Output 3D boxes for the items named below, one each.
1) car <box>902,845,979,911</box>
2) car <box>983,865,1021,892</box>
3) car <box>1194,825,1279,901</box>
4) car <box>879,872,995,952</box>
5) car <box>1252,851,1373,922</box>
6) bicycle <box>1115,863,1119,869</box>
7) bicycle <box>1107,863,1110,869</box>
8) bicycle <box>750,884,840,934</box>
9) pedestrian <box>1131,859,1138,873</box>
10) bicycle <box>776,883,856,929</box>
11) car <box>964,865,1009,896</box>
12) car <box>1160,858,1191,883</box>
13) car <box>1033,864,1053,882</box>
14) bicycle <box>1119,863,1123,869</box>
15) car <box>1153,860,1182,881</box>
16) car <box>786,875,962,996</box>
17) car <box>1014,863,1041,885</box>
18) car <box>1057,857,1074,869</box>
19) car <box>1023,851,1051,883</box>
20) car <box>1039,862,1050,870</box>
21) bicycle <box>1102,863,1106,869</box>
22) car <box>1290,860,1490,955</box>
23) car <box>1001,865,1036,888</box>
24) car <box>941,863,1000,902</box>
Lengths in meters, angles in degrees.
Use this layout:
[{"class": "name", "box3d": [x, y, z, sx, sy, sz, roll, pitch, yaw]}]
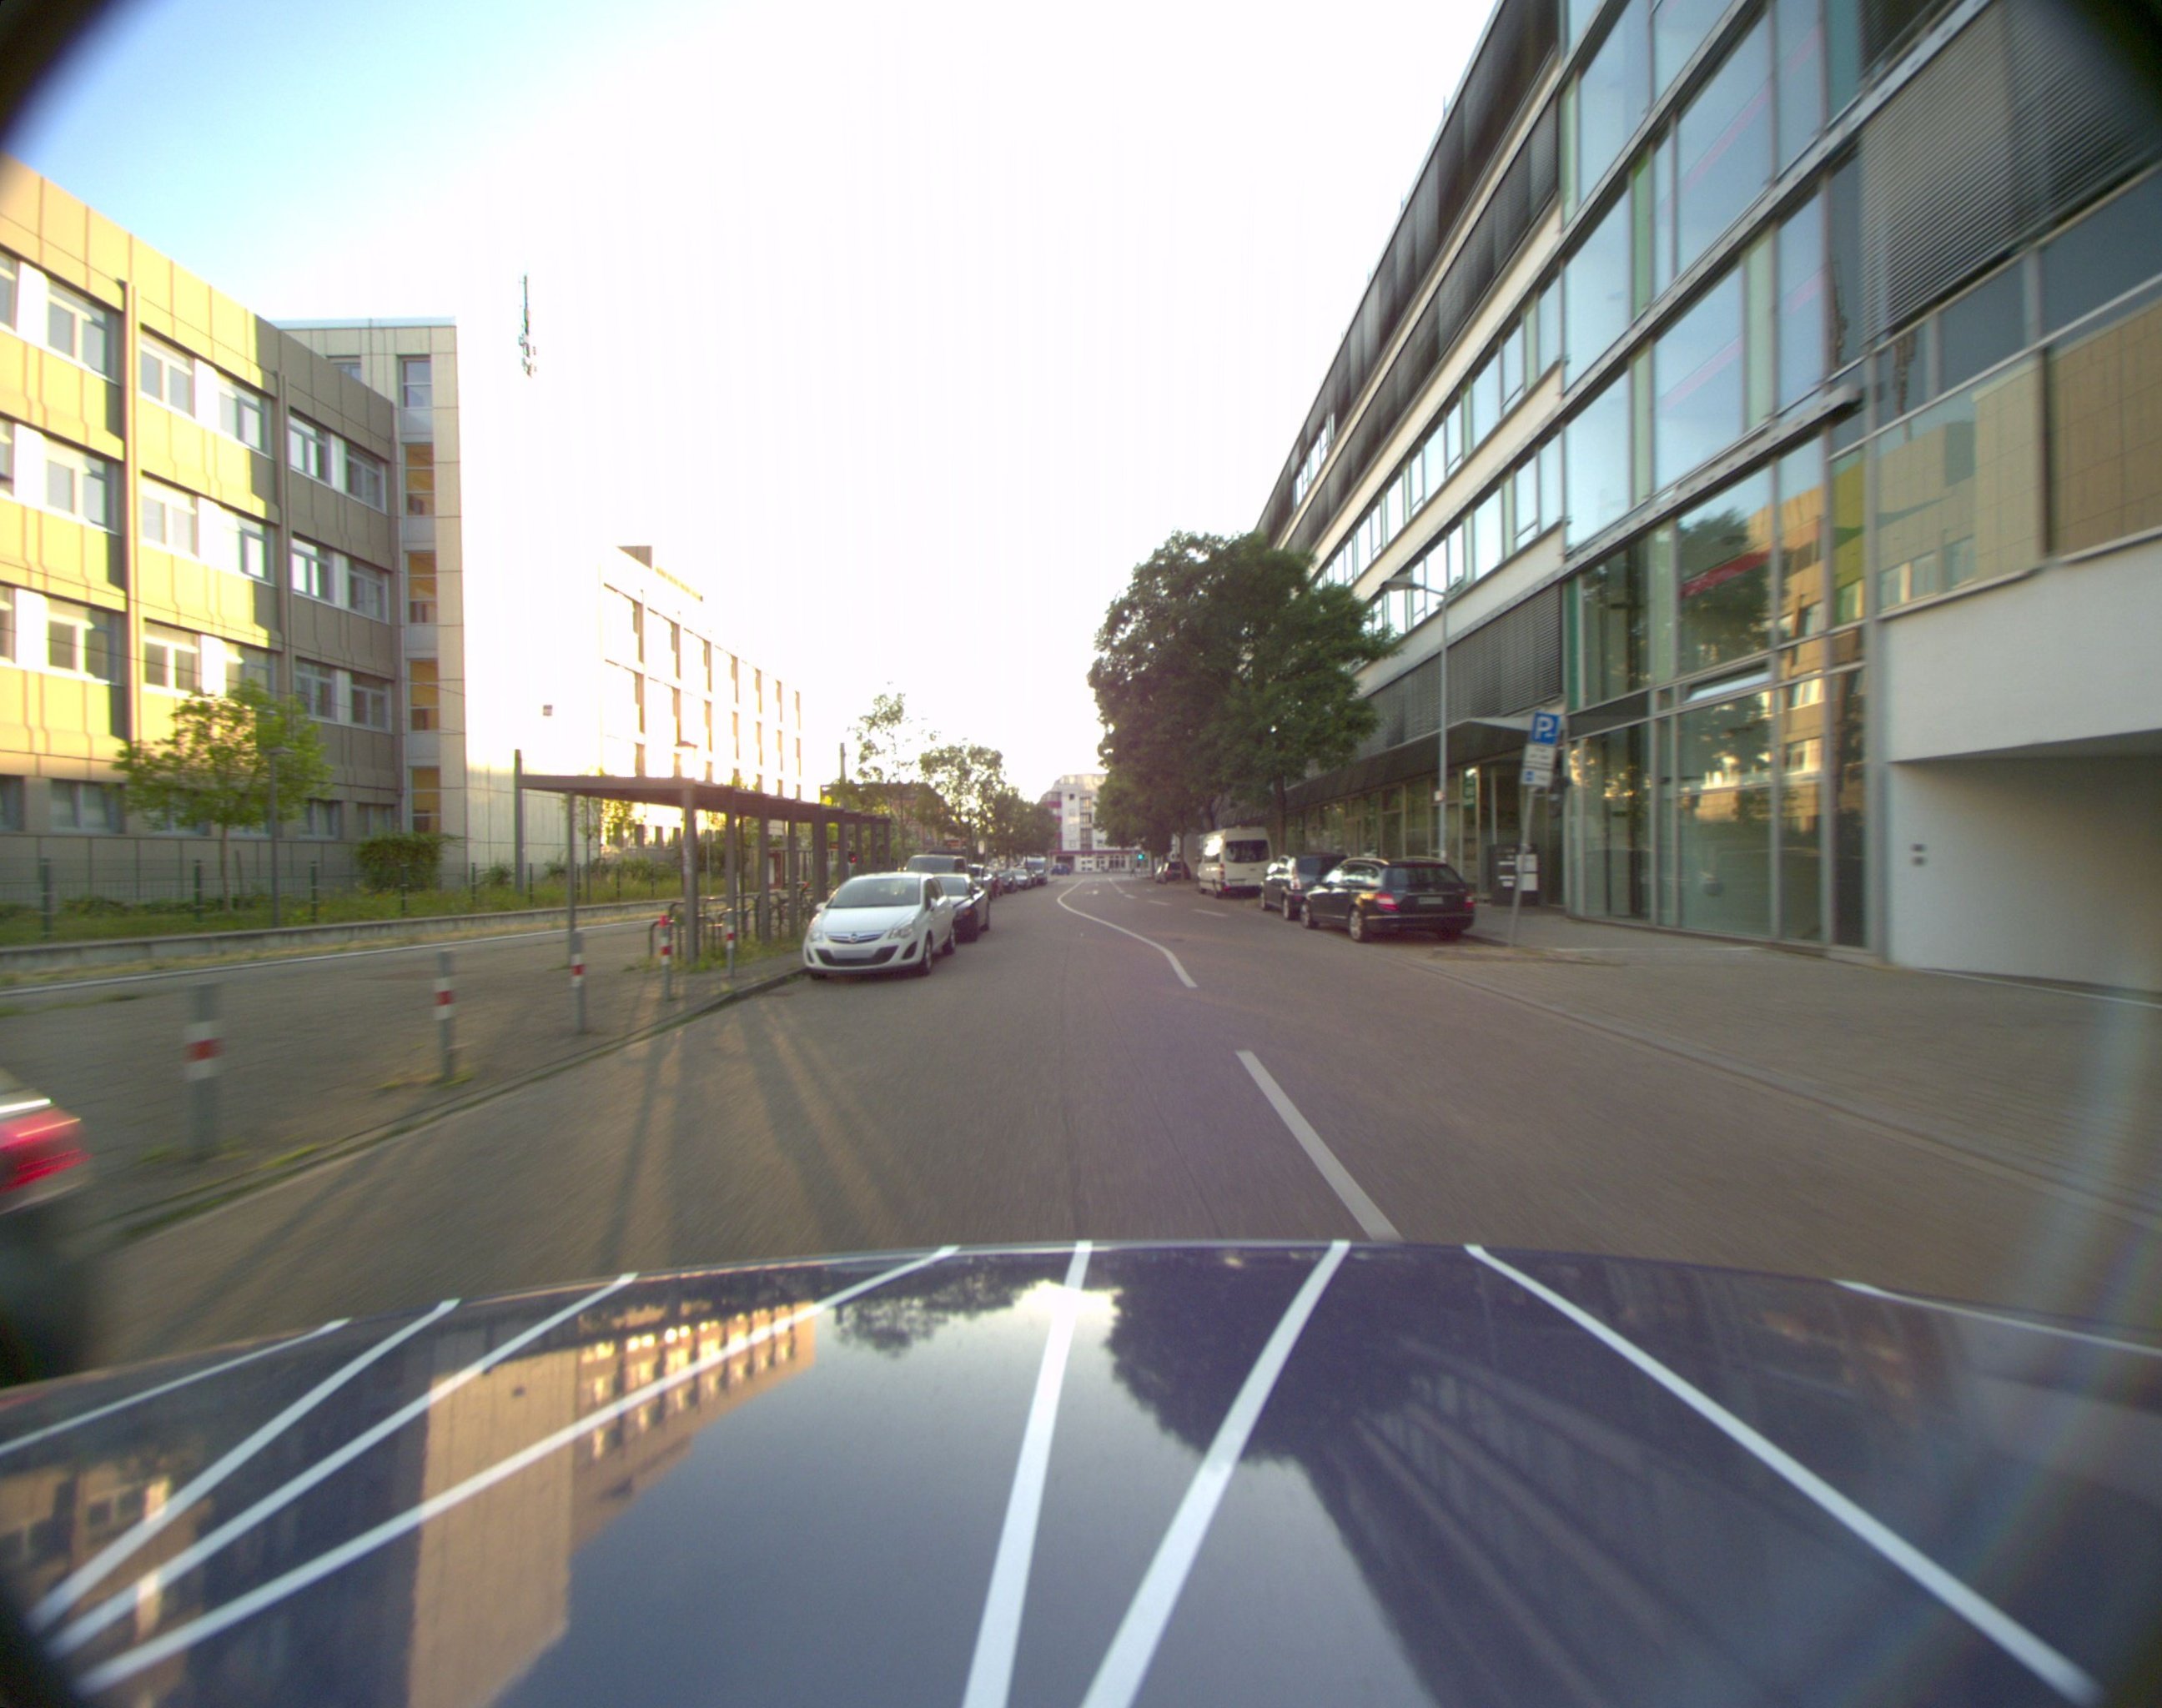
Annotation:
[{"class": "car", "box3d": [-4.973, 0.822, 27.521, 1.809, 2.163, 4.736, 1, 0, 1]}, {"class": "car", "box3d": [-4.603, 1.401, 44.699, 1.712, 1.443, 4.000, 1, 0, 1]}, {"class": "car", "box3d": [6.001, 0.353, 30.304, 2.105, 2.648, 6.952, -1, -1, 2]}, {"class": "car", "box3d": [-3.019, 1.168, 16.845, 1.792, 1.443, 4.515, -1, -1, -2]}, {"class": "car", "box3d": [5.697, 0.770, 19.280, 1.848, 1.562, 4.268, -1, -1, 2]}, {"class": "bicycle", "box3d": [6.259, 2.139, 132.469, 0.515, 1.040, 1.903, -1, 0, -1]}, {"class": "bicycle", "box3d": [4.809, 2.139, 132.438, 0.515, 1.040, 1.903, -1, 0, -1]}, {"class": "bicycle", "box3d": [-6.360, 1.216, 16.951, 1.810, 1.060, 0.487, -1, 1, 1]}, {"class": "pedestrian", "box3d": [6.527, 1.418, 92.447, 0.545, 1.691, 0.709, -1, 0, 29]}, {"class": "bicycle", "box3d": [-6.287, 1.236, 18.054, 1.724, 1.060, 0.421, 0, 1, 1]}, {"class": "car", "box3d": [-4.853, 1.352, 39.480, 1.712, 1.484, 4.131, 1, 0, 1]}, {"class": "car", "box3d": [6.478, 1.121, 52.661, 1.593, 1.559, 4.472, -4, -1, 1]}, {"class": "car", "box3d": [-3.682, 1.840, 73.576, 1.752, 1.574, 4.013, 2, -1, -1]}, {"class": "bicycle", "box3d": [7.008, 2.136, 132.371, 0.515, 1.040, 1.903, -1, 0, -1]}, {"class": "car", "box3d": [6.543, 1.250, 57.851, 1.707, 1.453, 4.627, -4, -1, 1]}, {"class": "car", "box3d": [-3.006, 1.110, 11.944, 1.680, 1.443, 4.187, -1, 0, -1]}, {"class": "car", "box3d": [-4.111, 1.521, 58.661, 1.712, 1.633, 4.267, 1, 0, 1]}, {"class": "car", "box3d": [-2.290, 1.282, 108.997, 1.754, 1.668, 4.270, -2, -1, -10]}, {"class": "car", "box3d": [-3.810, 1.114, 66.606, 2.056, 2.641, 5.434, 2, 0, 0]}, {"class": "car", "box3d": [-6.790, 2.289, 142.827, 2.007, 1.448, 4.296, -1, 0, -3]}, {"class": "bicycle", "box3d": [3.964, 2.126, 132.381, 0.515, 1.040, 1.903, -1, 0, -1]}, {"class": "car", "box3d": [5.460, 0.868, 14.108, 1.719, 1.443, 4.398, -1, -1, -3]}, {"class": "car", "box3d": [-4.275, 1.524, 52.782, 1.800, 1.487, 4.782, 2, -1, 3]}, {"class": "car", "box3d": [-4.787, 1.201, 33.428, 1.711, 1.571, 4.480, 1, 0, 3]}]
